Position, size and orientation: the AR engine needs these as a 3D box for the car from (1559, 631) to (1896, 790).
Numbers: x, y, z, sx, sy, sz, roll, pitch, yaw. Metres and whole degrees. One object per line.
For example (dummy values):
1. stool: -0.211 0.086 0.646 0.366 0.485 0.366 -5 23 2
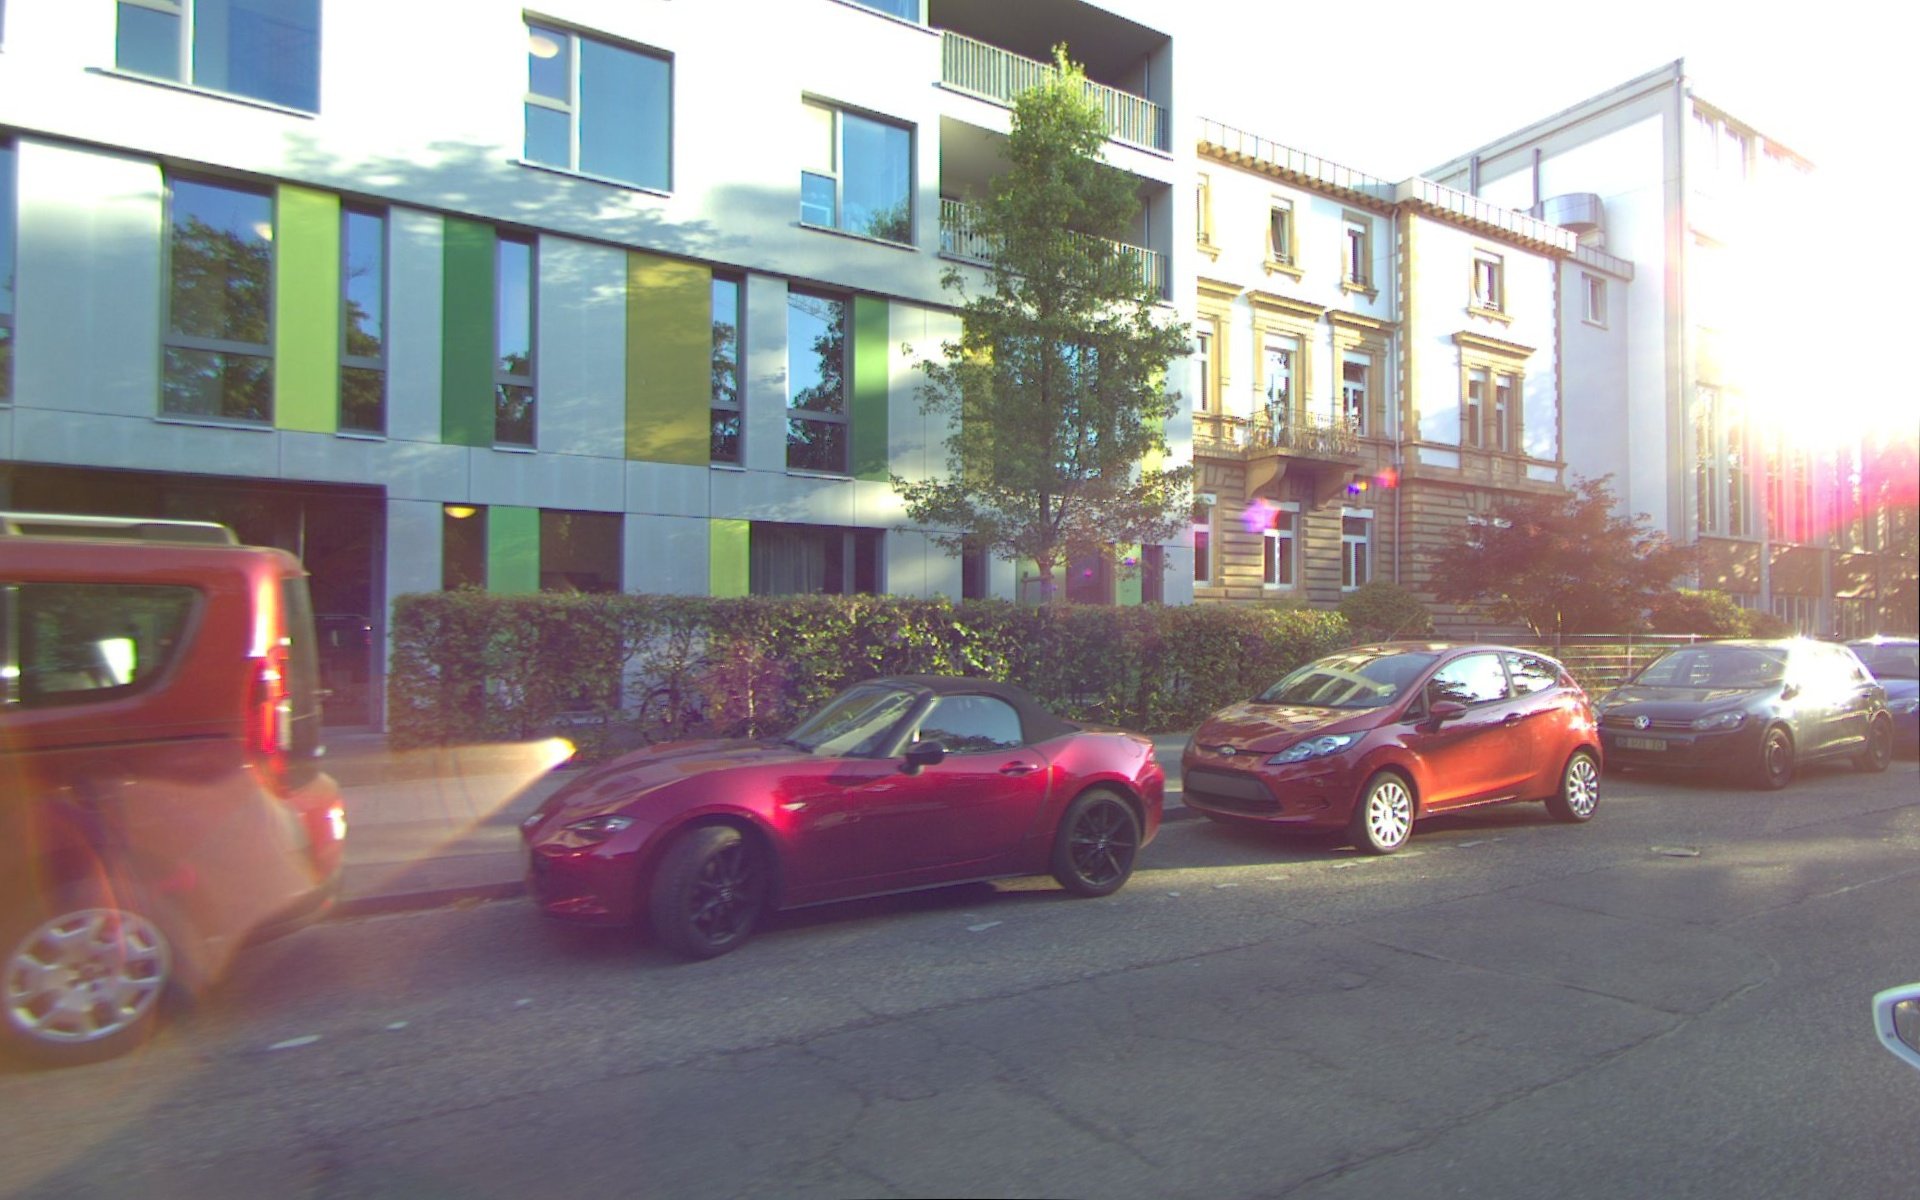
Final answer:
1. car: 8.584 1.108 11.163 4.008 1.474 1.591 1 -3 -31

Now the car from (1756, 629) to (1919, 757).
1. car: 12.734 1.174 13.663 3.739 1.527 1.593 1 -3 -28

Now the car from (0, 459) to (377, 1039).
1. car: -4.500 0.519 3.572 4.189 1.914 1.799 1 -3 -31

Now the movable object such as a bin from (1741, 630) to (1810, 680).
1. movable object such as a bin: 24.258 1.623 29.889 1.466 1.449 1.095 1 -1 -26

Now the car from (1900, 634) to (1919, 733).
1. car: 16.622 1.271 15.802 3.726 1.513 1.594 1 -3 -30

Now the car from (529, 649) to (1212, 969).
1. car: -0.435 0.967 5.885 3.690 1.297 1.549 1 -3 -31

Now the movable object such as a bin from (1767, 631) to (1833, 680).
1. movable object such as a bin: 25.532 1.657 30.545 1.354 1.449 1.095 1 -1 -26

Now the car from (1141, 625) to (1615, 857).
1. car: 3.434 0.957 8.084 3.817 1.474 1.590 1 -2 -31
